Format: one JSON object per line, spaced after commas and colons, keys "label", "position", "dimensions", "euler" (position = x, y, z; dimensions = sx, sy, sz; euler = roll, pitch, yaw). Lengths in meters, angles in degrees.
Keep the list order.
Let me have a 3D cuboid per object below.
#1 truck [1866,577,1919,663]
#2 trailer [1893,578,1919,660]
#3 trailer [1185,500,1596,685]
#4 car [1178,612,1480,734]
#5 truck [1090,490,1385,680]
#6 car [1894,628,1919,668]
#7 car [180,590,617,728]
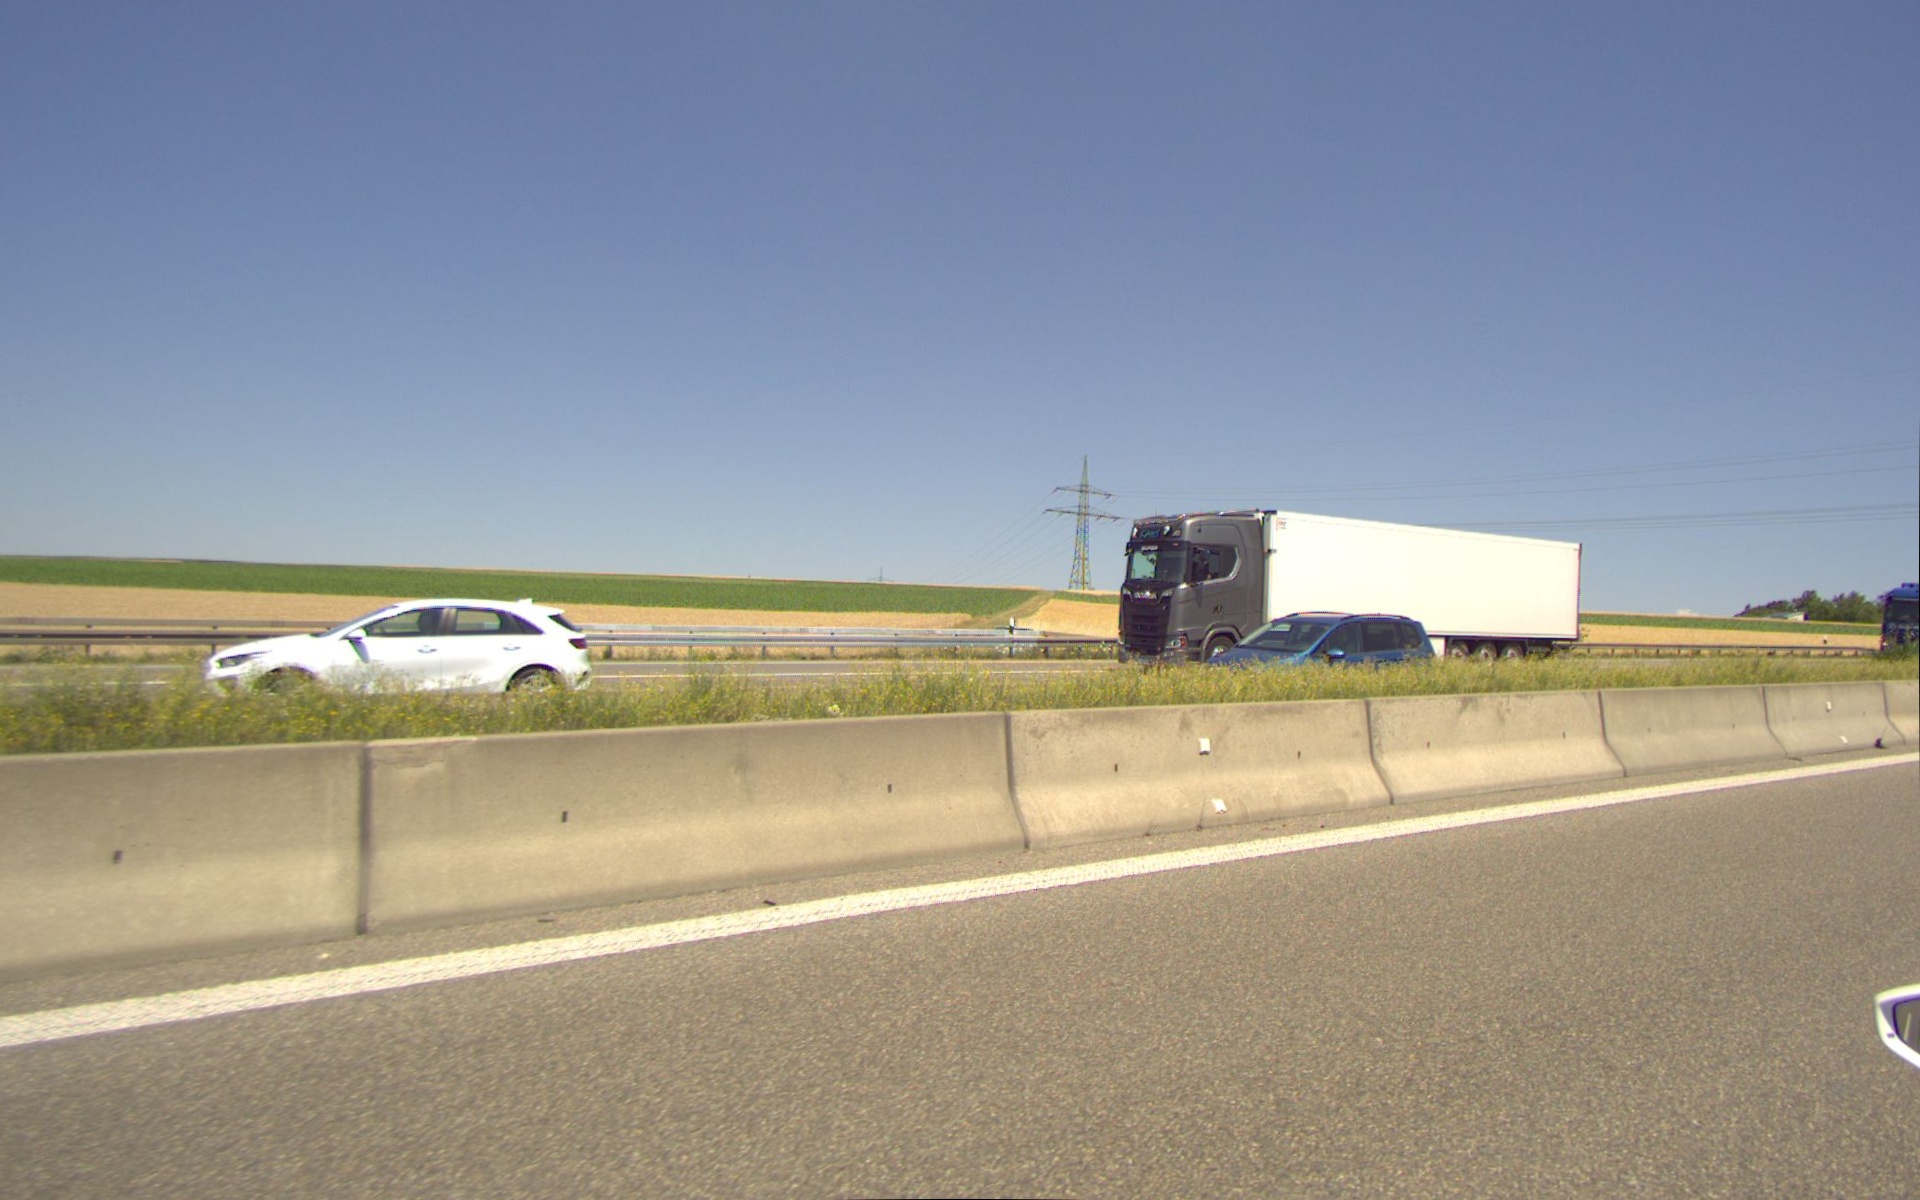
{"label": "truck", "position": [46.910, 0.990, 48.585], "dimensions": [6.064, 3.990, 2.763], "euler": [1, 0, -30]}
{"label": "trailer", "position": [53.078, 1.114, 52.015], "dimensions": [13.560, 4.011, 2.827], "euler": [2, 0, -29]}
{"label": "trailer", "position": [12.883, -0.023, 29.072], "dimensions": [13.861, 4.446, 3.227], "euler": [2, 0, -30]}
{"label": "car", "position": [6.086, 1.107, 16.392], "dimensions": [4.907, 1.689, 1.983], "euler": [2, 0, -31]}
{"label": "truck", "position": [7.139, -0.269, 25.669], "dimensions": [7.041, 4.262, 3.211], "euler": [1, 0, -30]}
{"label": "car", "position": [38.606, 1.904, 39.217], "dimensions": [4.448, 1.499, 1.811], "euler": [2, 0, -29]}
{"label": "car", "position": [-6.919, 0.701, 12.802], "dimensions": [4.520, 1.476, 1.856], "euler": [2, 0, -31]}
